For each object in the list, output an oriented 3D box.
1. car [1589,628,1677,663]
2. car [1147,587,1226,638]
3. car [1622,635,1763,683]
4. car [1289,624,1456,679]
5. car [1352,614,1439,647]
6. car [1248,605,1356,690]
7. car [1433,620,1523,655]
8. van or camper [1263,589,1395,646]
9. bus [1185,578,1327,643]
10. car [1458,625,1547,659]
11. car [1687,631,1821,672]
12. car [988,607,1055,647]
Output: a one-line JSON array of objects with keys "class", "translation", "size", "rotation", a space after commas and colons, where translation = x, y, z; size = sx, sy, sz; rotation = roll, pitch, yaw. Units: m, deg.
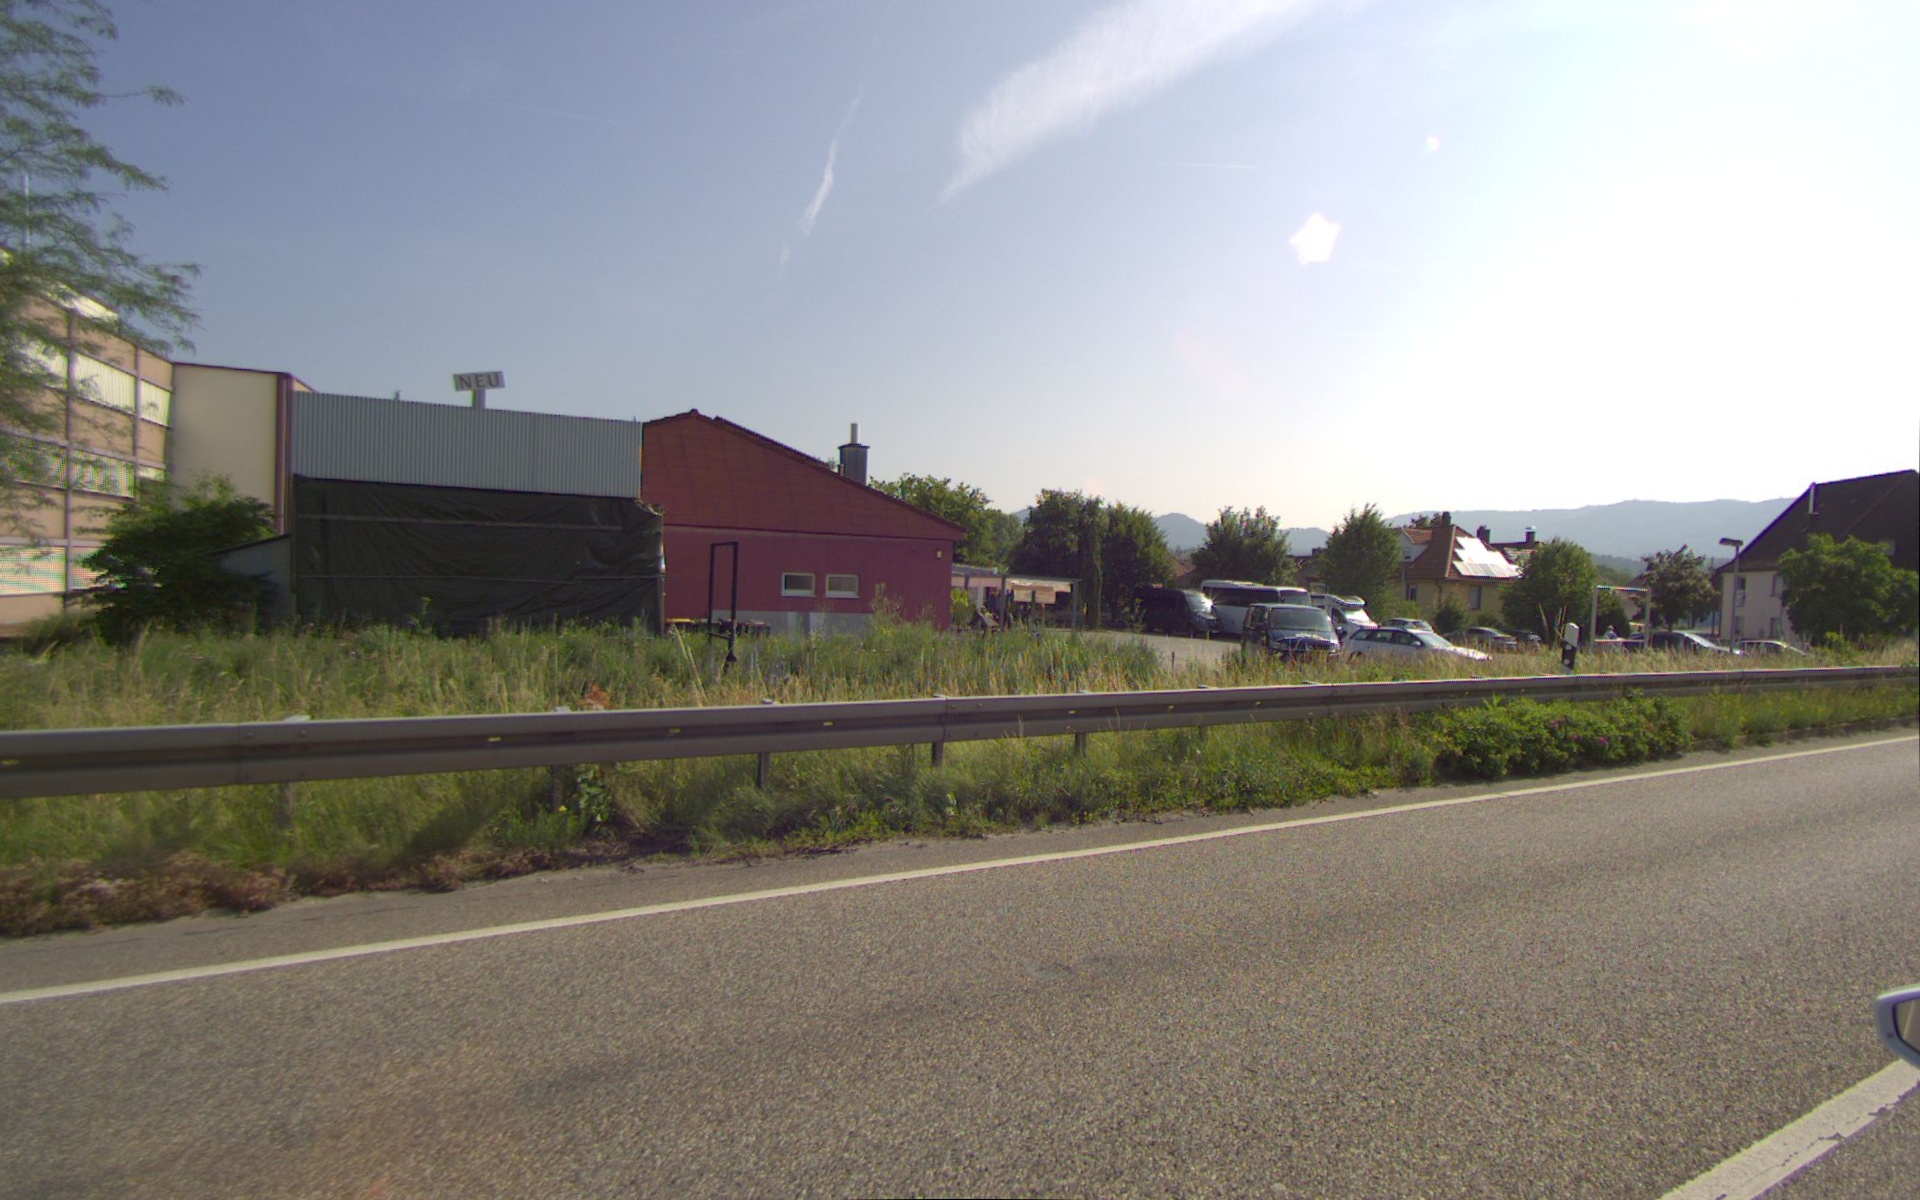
[{"class": "car", "translation": [41.988, 2.806, 62.790], "size": [1.834, 1.655, 4.151], "rotation": [4, 3, -21]}, {"class": "car", "translation": [13.120, 0.669, 58.527], "size": [1.836, 2.696, 5.007], "rotation": [1, 2, -24]}, {"class": "car", "translation": [29.844, 2.351, 41.042], "size": [1.855, 1.687, 4.272], "rotation": [1, 0, -34]}, {"class": "car", "translation": [12.600, 1.537, 30.959], "size": [1.726, 1.400, 4.585], "rotation": [1, 0, -35]}, {"class": "car", "translation": [25.380, 1.764, 58.692], "size": [1.836, 1.655, 4.545], "rotation": [1, 2, -24]}, {"class": "car", "translation": [9.214, 1.191, 27.473], "size": [1.959, 2.040, 4.908], "rotation": [1, 0, 9]}, {"class": "car", "translation": [30.491, 2.190, 59.283], "size": [1.837, 1.655, 4.545], "rotation": [4, 0, -24]}, {"class": "van or camper", "translation": [21.057, 0.935, 57.844], "size": [2.709, 2.880, 7.374], "rotation": [2, 1, -24]}, {"class": "bus", "translation": [16.949, 0.461, 58.369], "size": [2.628, 3.400, 9.074], "rotation": [0, 2, -24]}, {"class": "car", "translation": [32.800, 2.490, 60.882], "size": [1.835, 1.655, 4.550], "rotation": [4, 0, -21]}, {"class": "car", "translation": [35.044, 2.239, 44.453], "size": [1.852, 1.524, 4.278], "rotation": [1, 0, -30]}, {"class": "car", "translation": [1.973, 0.863, 32.015], "size": [1.992, 1.161, 0.811], "rotation": [3, 0, -29]}]
